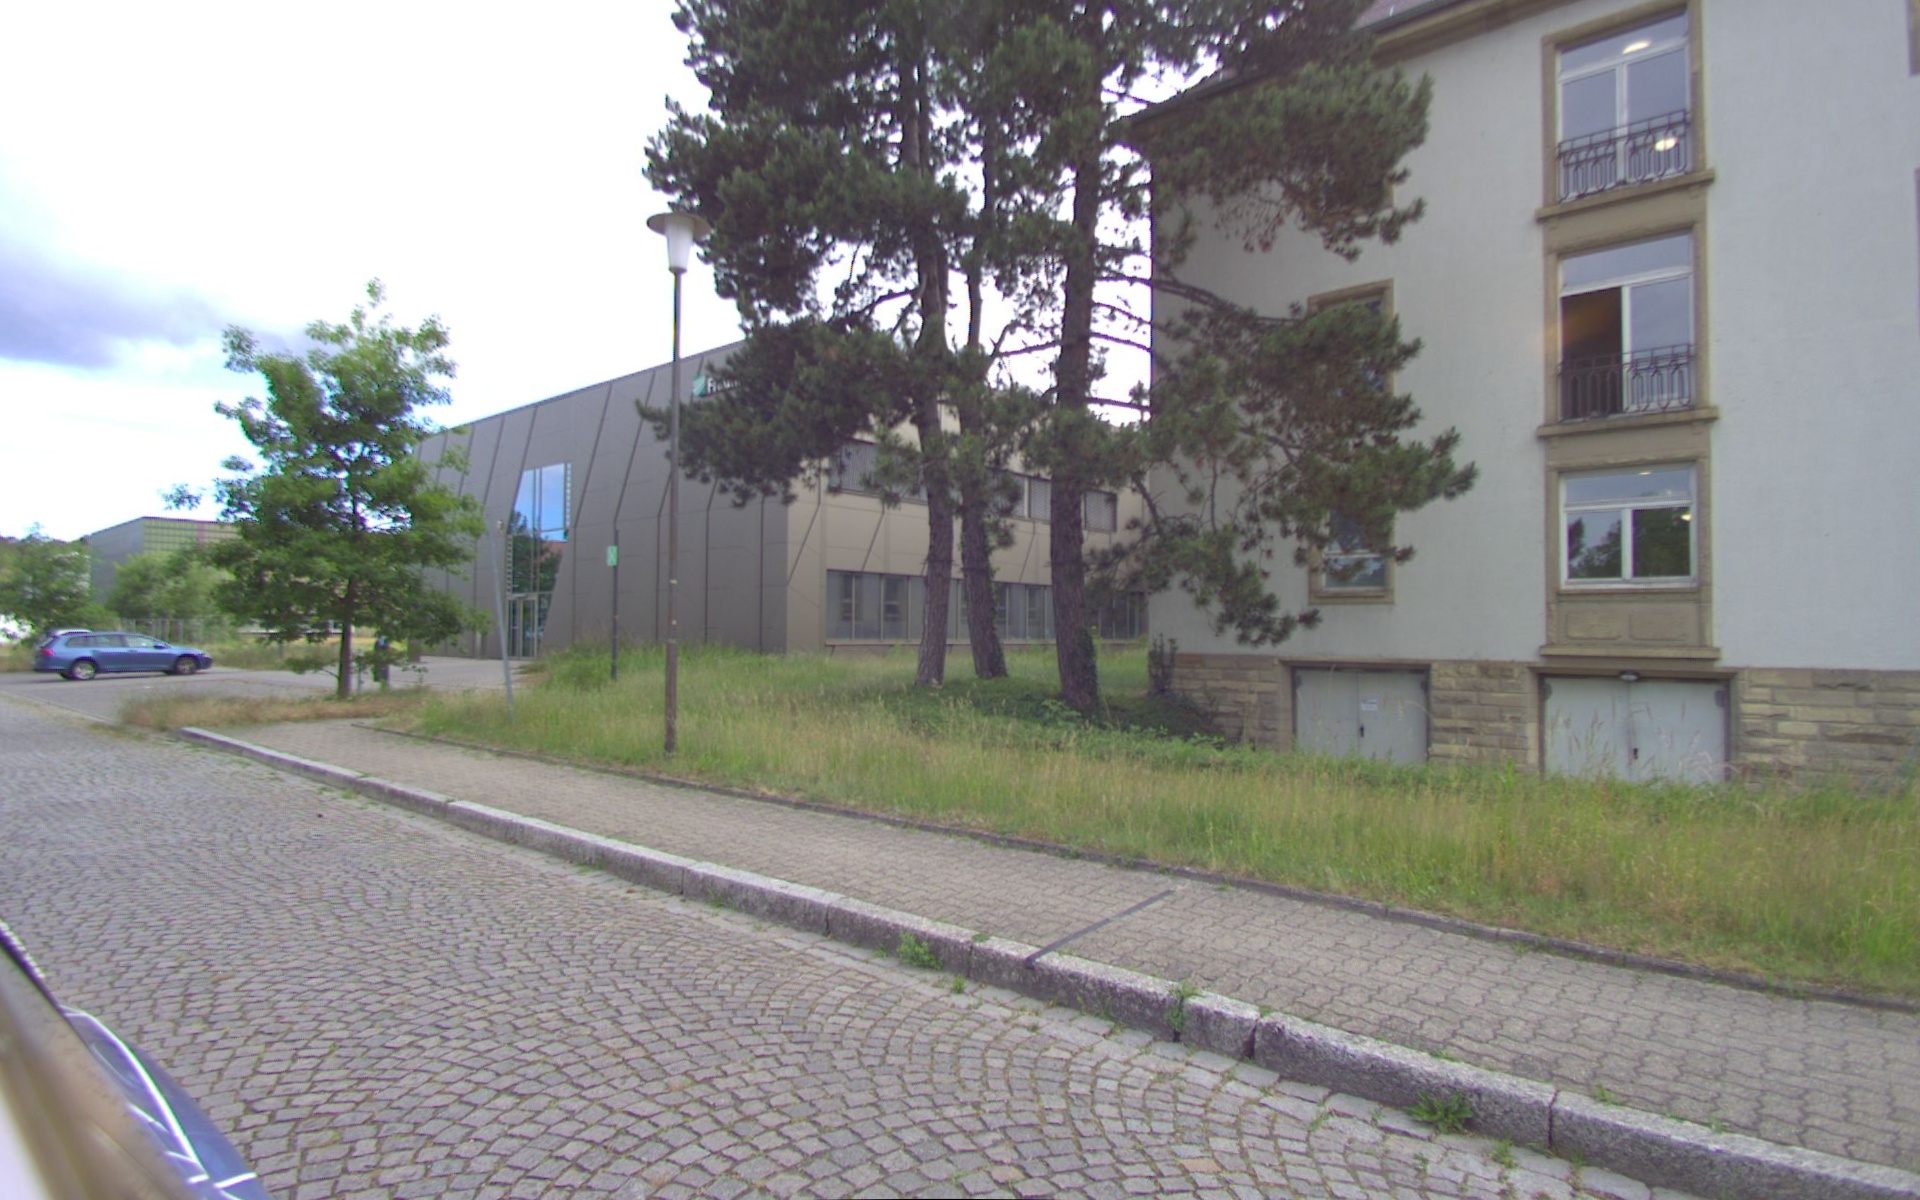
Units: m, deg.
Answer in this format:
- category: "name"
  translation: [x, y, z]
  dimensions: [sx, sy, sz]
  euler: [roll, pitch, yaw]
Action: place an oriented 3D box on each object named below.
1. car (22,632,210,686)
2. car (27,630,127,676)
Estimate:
- category: "car"
  translation: [-26.834, 1.814, 32.306]
  dimensions: [1.631, 1.481, 4.372]
  euler: [-1, -1, 38]
- category: "car"
  translation: [-32.386, 1.919, 37.146]
  dimensions: [1.499, 1.541, 2.552]
  euler: [-1, -1, 39]
